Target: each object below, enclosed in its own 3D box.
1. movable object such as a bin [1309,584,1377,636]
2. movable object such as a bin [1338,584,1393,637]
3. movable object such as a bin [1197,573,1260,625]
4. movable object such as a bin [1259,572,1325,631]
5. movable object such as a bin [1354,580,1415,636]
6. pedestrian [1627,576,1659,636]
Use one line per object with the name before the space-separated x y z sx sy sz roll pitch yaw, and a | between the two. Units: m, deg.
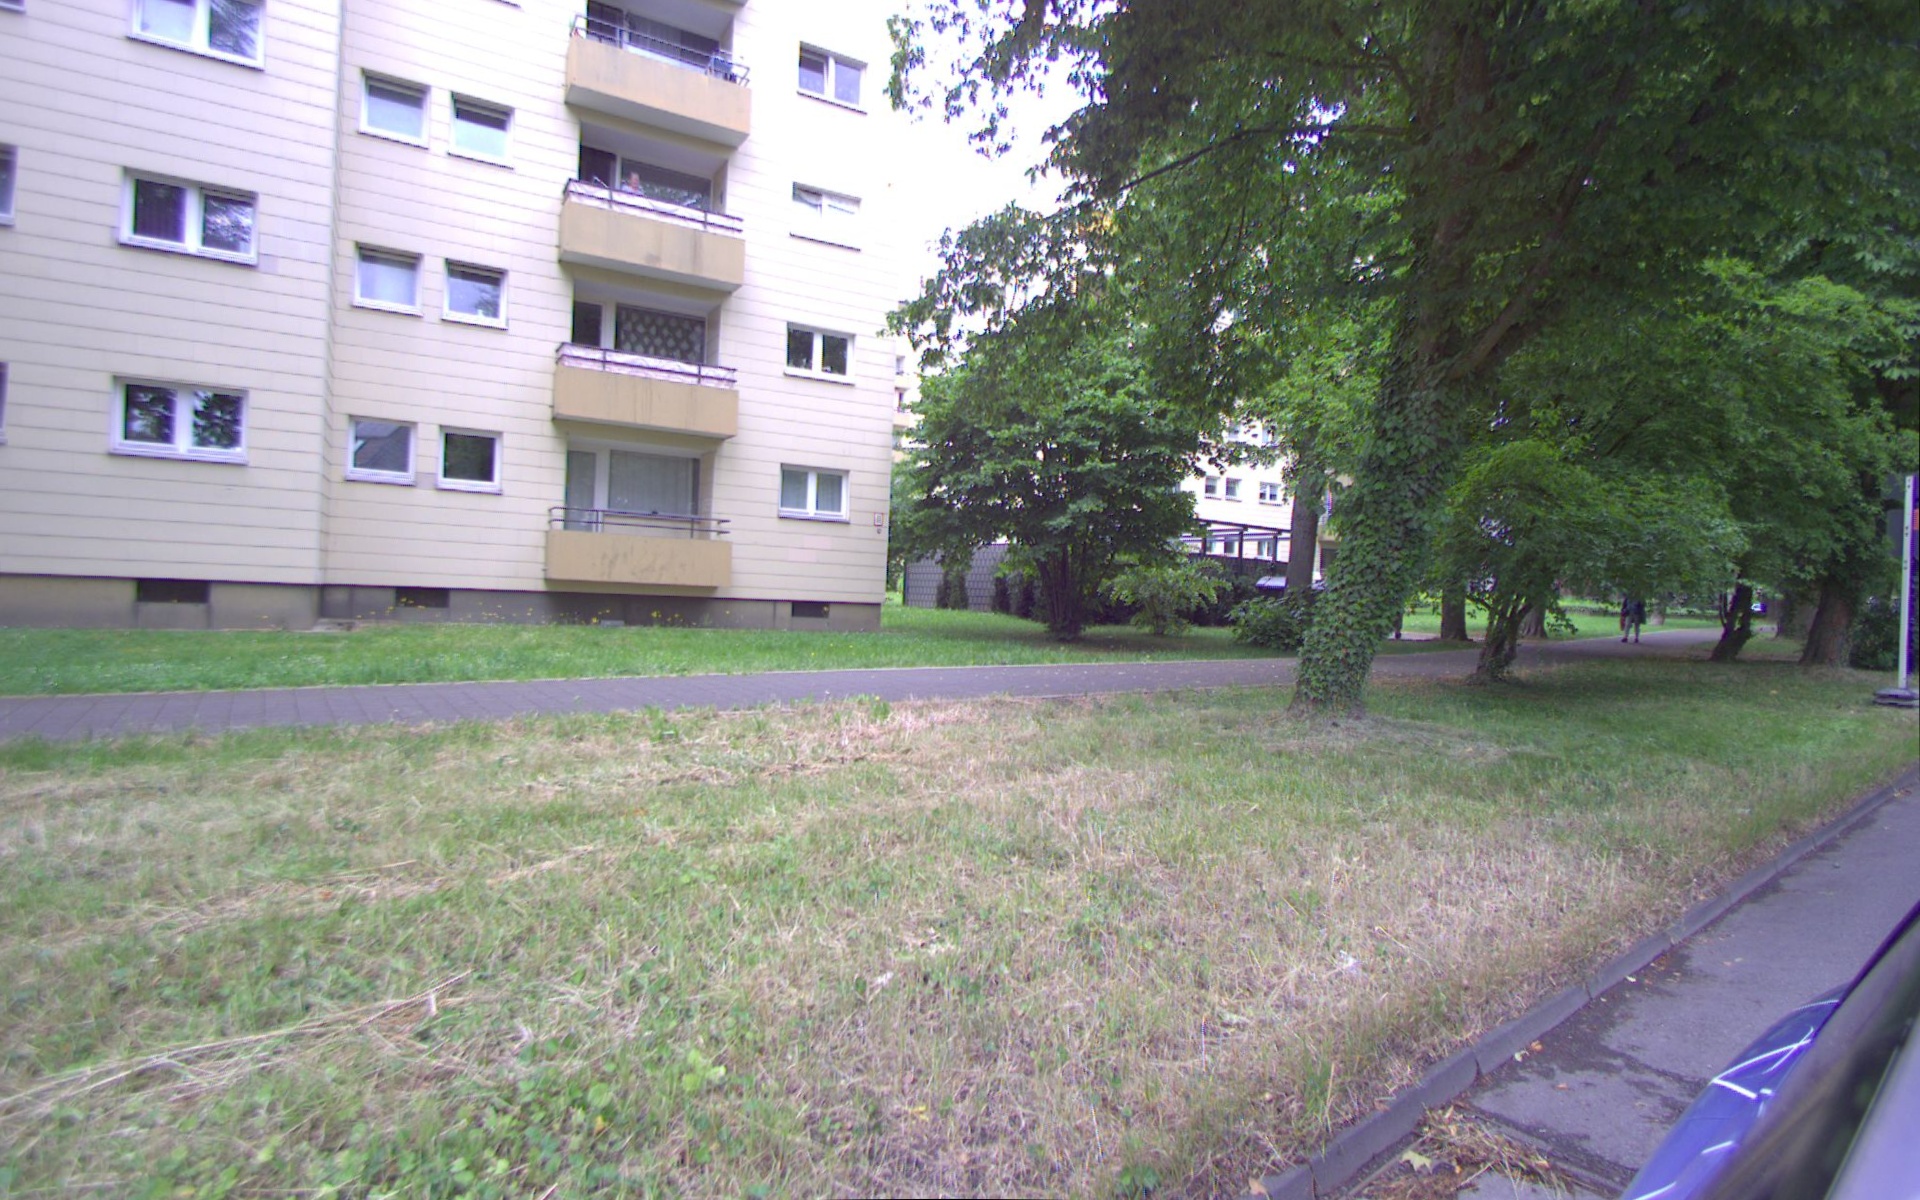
movable object such as a bin | 9.671 0.244 25.574 1.190 1.236 1.328 3 2 41
movable object such as a bin | 10.559 0.266 26.348 1.022 1.320 0.946 3 2 41
movable object such as a bin | 7.420 -0.030 27.918 1.190 1.358 1.328 3 2 41
movable object such as a bin | 8.682 0.028 26.446 1.190 1.475 1.328 3 2 41
movable object such as a bin | 11.360 0.206 27.066 1.190 1.431 1.094 3 2 41
pedestrian | 20.326 0.172 30.117 0.560 1.761 0.565 1 2 -41
